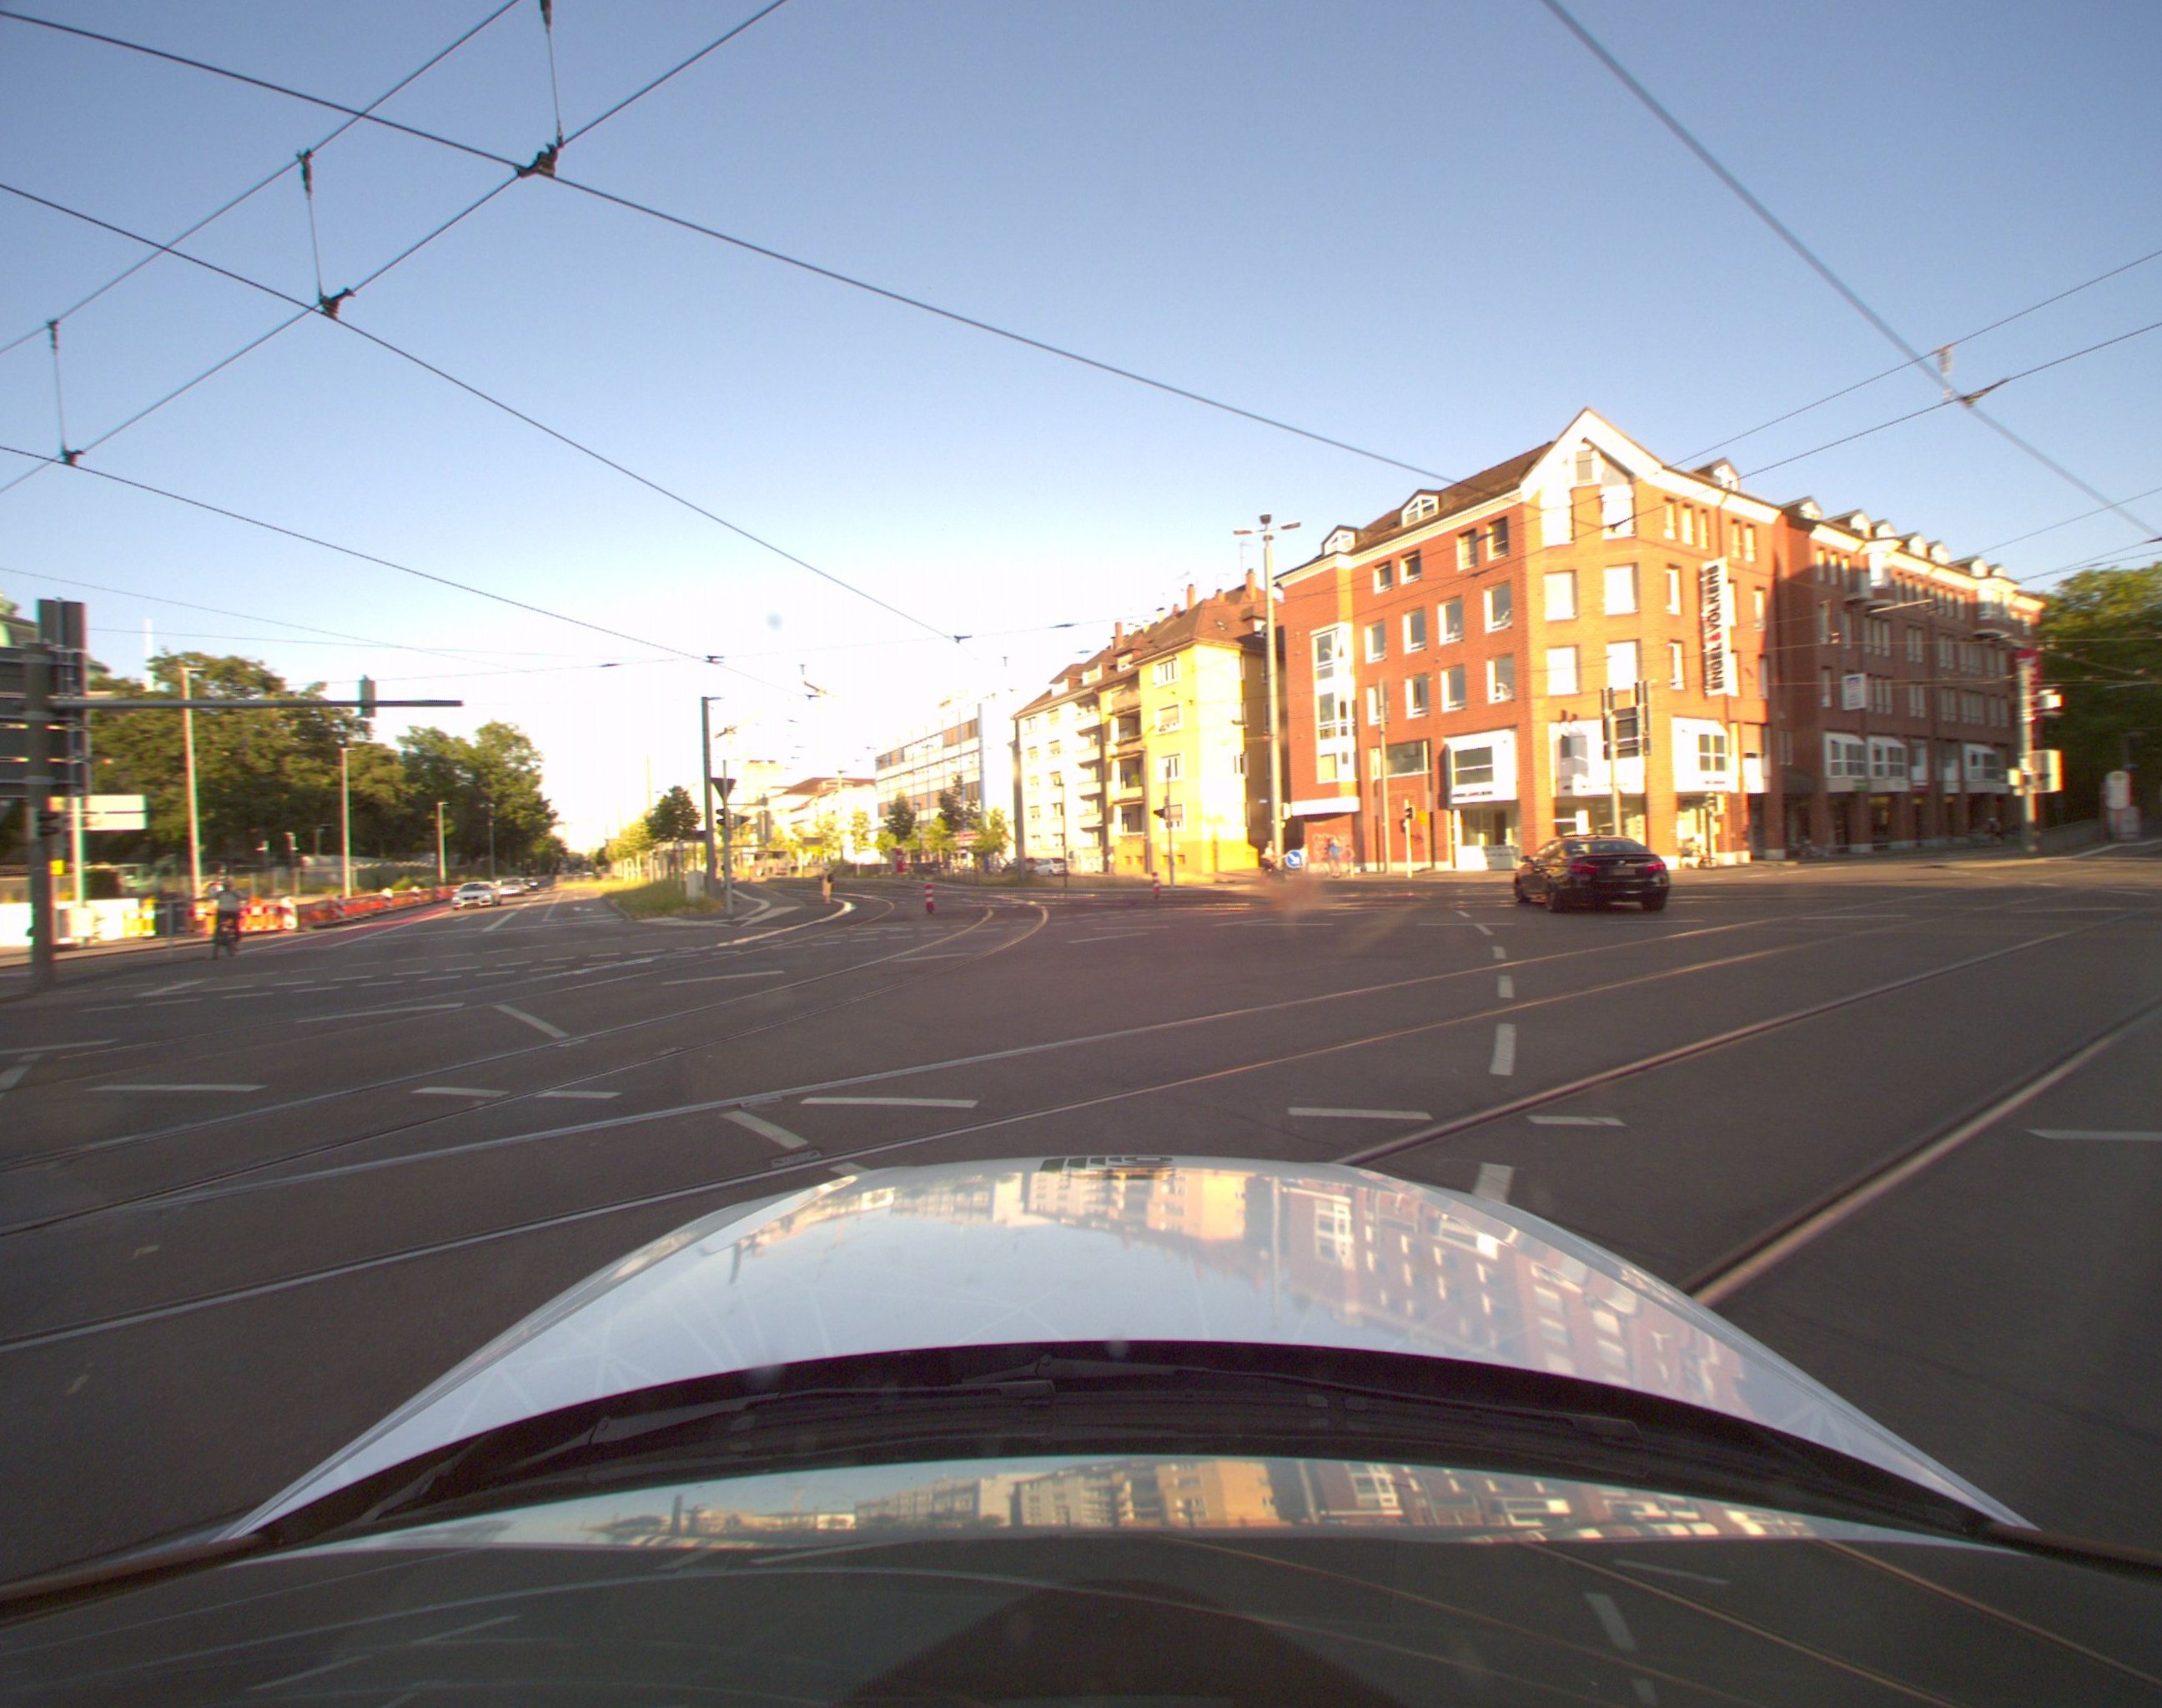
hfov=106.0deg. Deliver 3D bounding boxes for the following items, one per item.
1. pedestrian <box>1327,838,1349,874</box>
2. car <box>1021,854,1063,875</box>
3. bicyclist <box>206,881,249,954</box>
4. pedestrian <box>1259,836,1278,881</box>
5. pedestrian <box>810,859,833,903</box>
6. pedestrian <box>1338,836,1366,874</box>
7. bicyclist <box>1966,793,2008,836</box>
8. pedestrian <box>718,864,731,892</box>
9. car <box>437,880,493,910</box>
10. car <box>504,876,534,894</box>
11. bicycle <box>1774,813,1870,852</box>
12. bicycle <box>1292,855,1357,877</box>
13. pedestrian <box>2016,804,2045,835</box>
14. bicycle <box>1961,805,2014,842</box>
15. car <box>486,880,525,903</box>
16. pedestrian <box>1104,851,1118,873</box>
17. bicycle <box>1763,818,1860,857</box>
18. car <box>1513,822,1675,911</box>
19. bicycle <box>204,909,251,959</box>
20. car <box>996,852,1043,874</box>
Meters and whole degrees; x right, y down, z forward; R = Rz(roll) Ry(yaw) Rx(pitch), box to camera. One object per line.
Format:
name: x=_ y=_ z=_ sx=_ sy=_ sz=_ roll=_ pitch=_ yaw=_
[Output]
pedestrian: x=12.795 y=0.096 z=40.509 sx=0.819 sy=1.778 sz=0.632 roll=-2 pitch=0 yaw=-39
car: x=-3.157 y=0.887 z=64.847 sx=1.746 sy=1.420 sz=3.505 roll=-2 pitch=-3 yaw=-34
bicyclist: x=-20.219 y=1.483 z=19.306 sx=0.599 sy=1.671 sz=0.739 roll=-2 pitch=0 yaw=-42
pedestrian: x=7.223 y=0.184 z=31.390 sx=0.420 sy=1.708 sz=0.510 roll=-2 pitch=0 yaw=-31
pedestrian: x=-9.471 y=0.983 z=29.723 sx=0.706 sy=1.541 sz=0.633 roll=-3 pitch=0 yaw=-16
pedestrian: x=13.305 y=0.046 z=39.944 sx=0.922 sy=1.778 sz=0.863 roll=-2 pitch=0 yaw=-37
bicyclist: x=54.035 y=-2.360 z=48.590 sx=1.673 sy=2.468 sz=1.282 roll=-3 pitch=0 yaw=-30
pedestrian: x=-20.642 y=1.378 z=47.166 sx=0.567 sy=1.591 sz=0.684 roll=-2 pitch=0 yaw=-29
car: x=-33.395 y=2.203 z=44.249 sx=1.923 sy=1.405 sz=4.261 roll=-4 pitch=0 yaw=-32
car: x=-55.605 y=3.082 z=80.639 sx=1.950 sy=1.617 sz=4.351 roll=-3 pitch=0 yaw=-29
bicycle: x=35.989 y=-1.016 z=39.629 sx=1.072 sy=1.726 sz=3.276 roll=-3 pitch=0 yaw=-30
bicycle: x=11.970 y=0.592 z=40.150 sx=0.936 sy=1.017 sz=3.029 roll=-2 pitch=0 yaw=-38
pedestrian: x=62.905 y=-2.289 z=53.950 sx=1.089 sy=2.013 sz=1.077 roll=-3 pitch=0 yaw=-33
bicycle: x=54.143 y=-1.840 z=48.650 sx=3.961 sy=2.013 sz=1.287 roll=-3 pitch=0 yaw=-30
car: x=-45.335 y=2.928 z=64.263 sx=1.683 sy=1.561 sz=3.697 roll=-5 pitch=0 yaw=-23
pedestrian: x=2.177 y=0.567 z=59.670 sx=0.712 sy=1.598 sz=0.729 roll=-2 pitch=0 yaw=-22
bicycle: x=34.973 y=-0.773 z=39.061 sx=1.072 sy=1.726 sz=3.277 roll=-3 pitch=0 yaw=-28
car: x=10.159 y=0.204 z=16.484 sx=1.825 sy=1.495 sz=4.314 roll=-4 pitch=0 yaw=20
bicycle: x=-20.214 y=1.871 z=19.312 sx=0.600 sy=1.023 sz=1.825 roll=-2 pitch=0 yaw=-42
car: x=-5.292 y=0.761 z=69.572 sx=2.128 sy=1.705 sz=4.303 roll=-3 pitch=0 yaw=-34
